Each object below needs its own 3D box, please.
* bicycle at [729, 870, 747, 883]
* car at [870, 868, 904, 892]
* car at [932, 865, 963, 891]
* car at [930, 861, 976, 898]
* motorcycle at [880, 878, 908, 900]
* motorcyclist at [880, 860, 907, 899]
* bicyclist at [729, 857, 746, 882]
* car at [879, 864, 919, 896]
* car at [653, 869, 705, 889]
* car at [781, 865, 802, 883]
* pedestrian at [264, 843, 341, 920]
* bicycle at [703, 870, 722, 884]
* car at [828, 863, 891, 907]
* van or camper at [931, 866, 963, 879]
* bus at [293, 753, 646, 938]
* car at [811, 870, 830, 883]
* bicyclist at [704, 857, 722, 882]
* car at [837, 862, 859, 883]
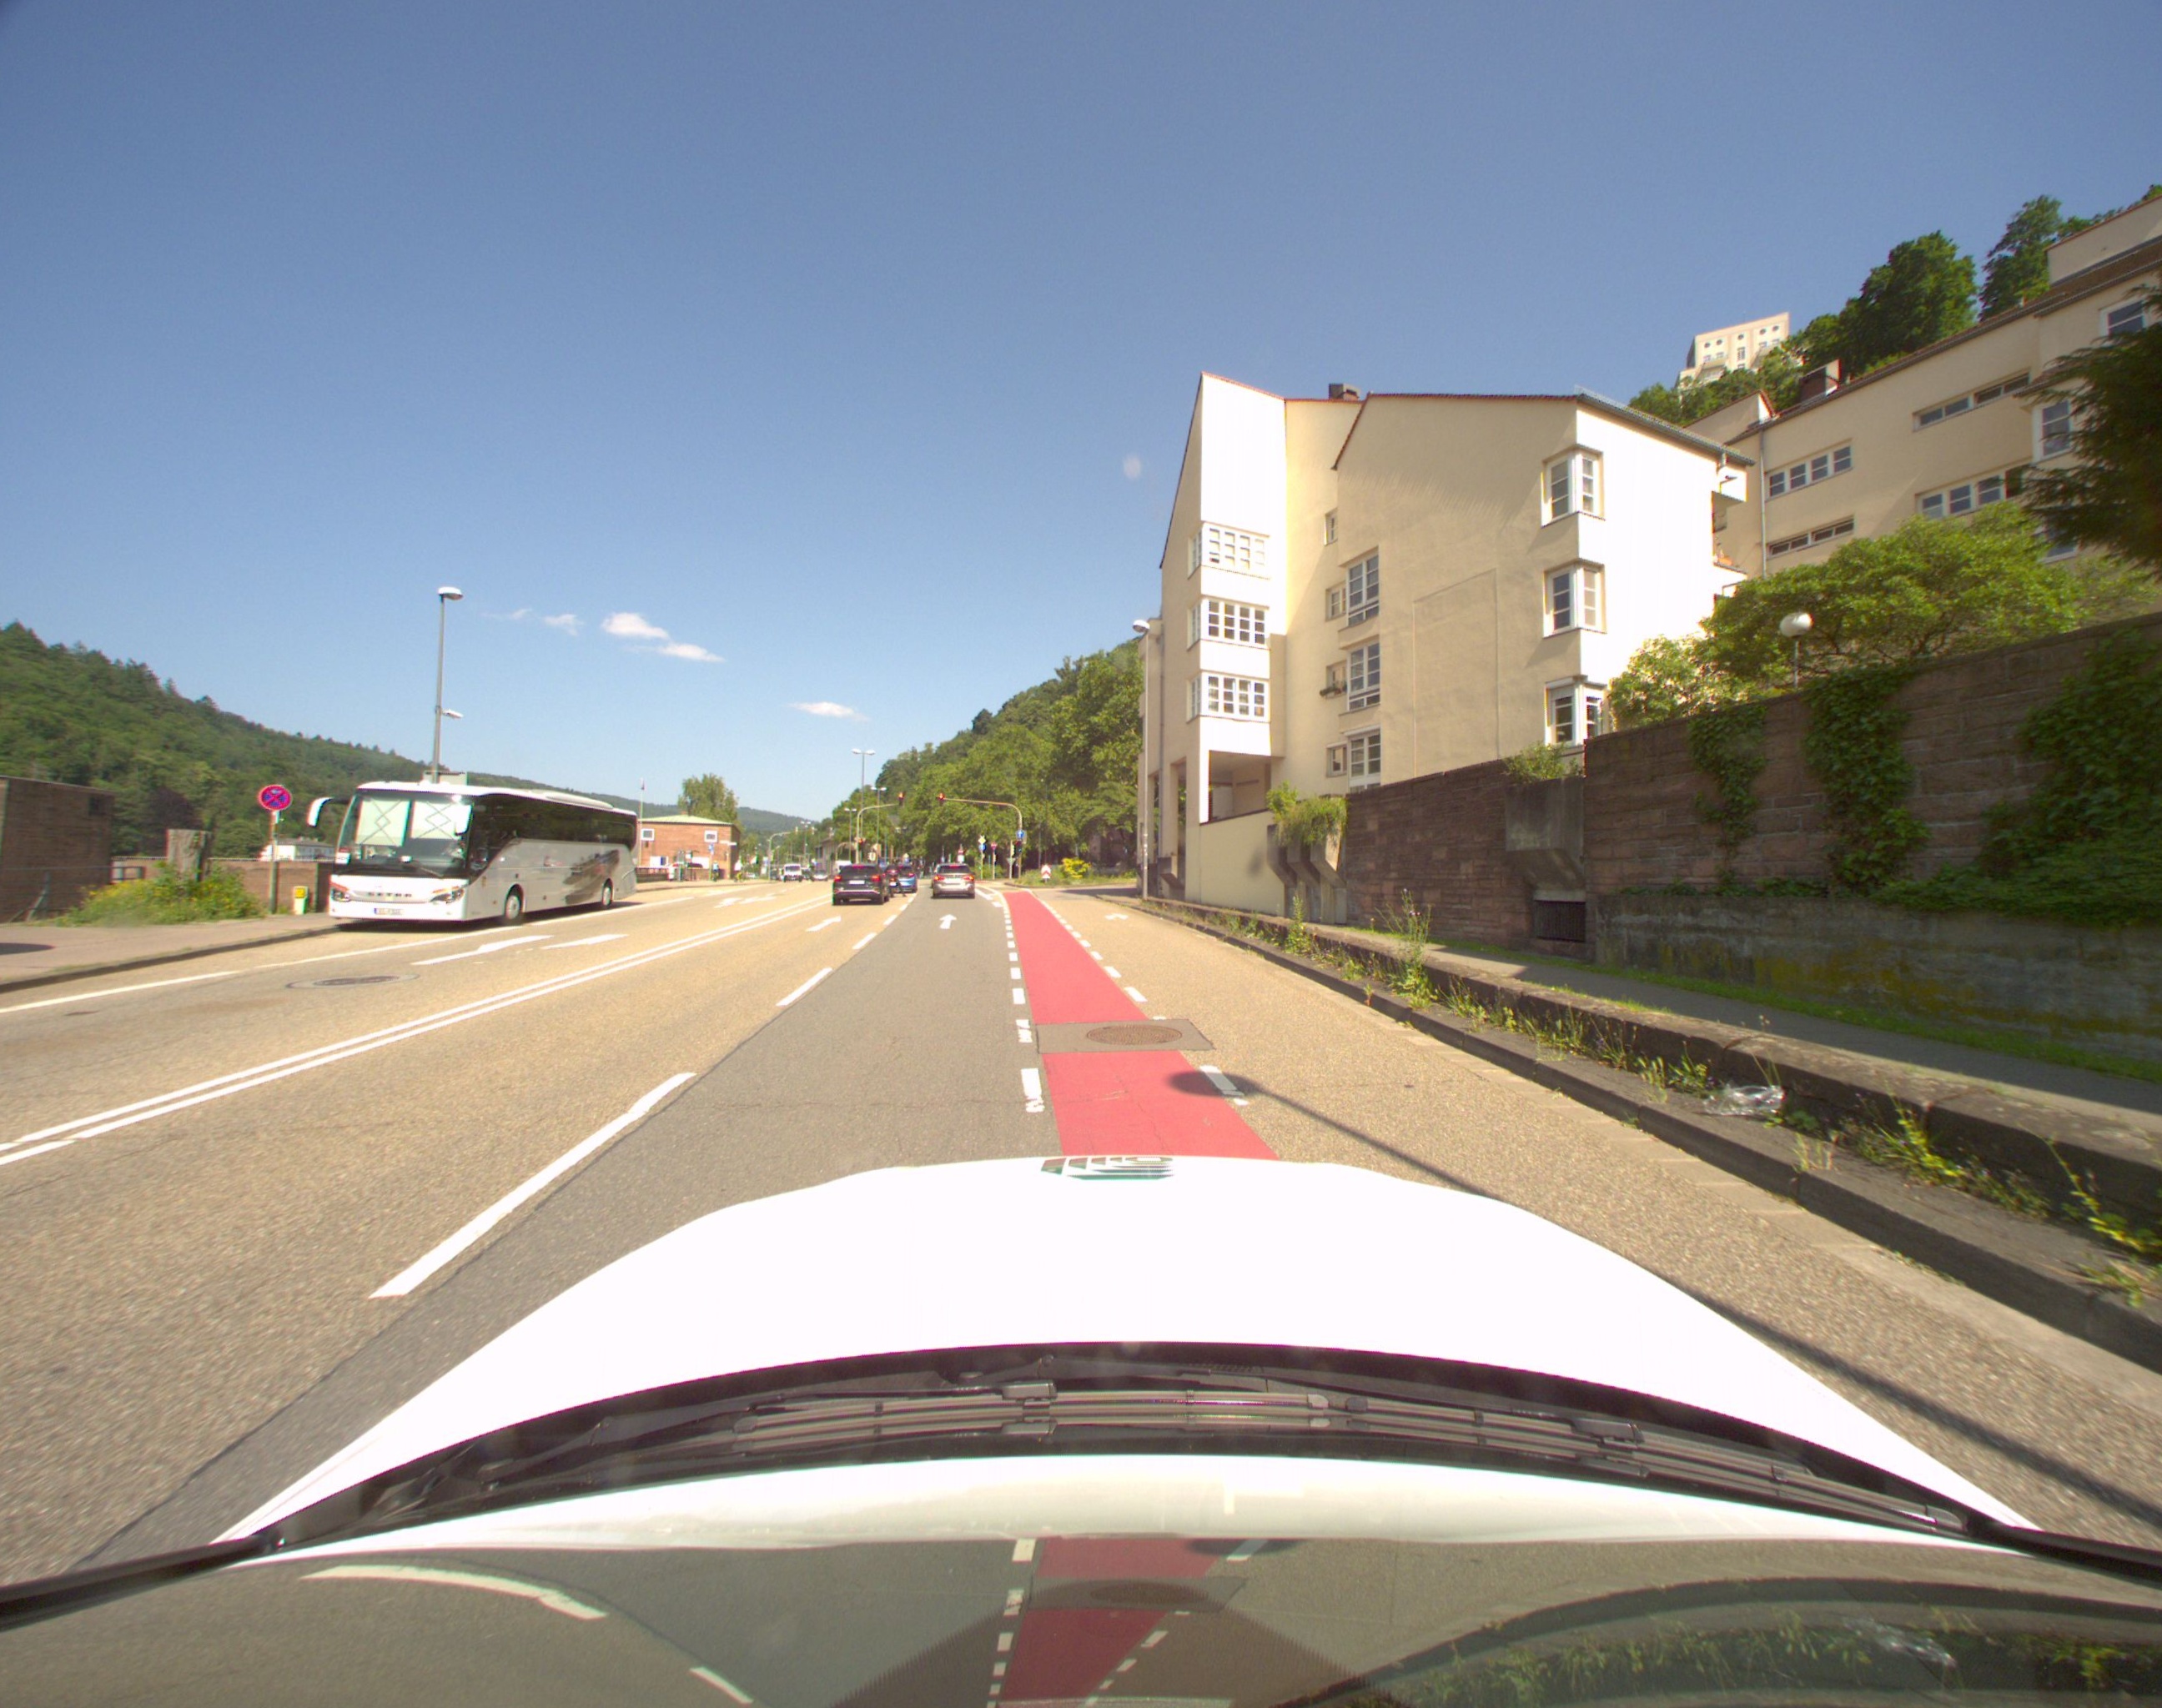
[{"bbox_3d":[-28.705,1.866,68.110,1.216,1.090,2.581,0,-1,-19],"label":"bicycle"},{"bbox_3d":[-11.889,1.544,50.090,1.867,1.359,3.985,0,-1,-10],"label":"car"},{"bbox_3d":[-8.348,1.456,50.966,1.785,1.532,4.721,-1,-1,-9],"label":"car"},{"bbox_3d":[-5.647,1.122,36.218,1.887,1.521,4.293,1,-1,-8],"label":"car"},{"bbox_3d":[-8.340,1.544,36.417,1.037,0.919,2.597,0,-1,-9],"label":"motorcycle"},{"bbox_3d":[-8.319,1.120,36.265,1.075,1.684,1.152,0,-1,-9],"label":"motorcyclist"},{"bbox_3d":[-28.691,1.276,68.109,1.216,2.014,1.111,0,-1,-19],"label":"bicyclist"},{"bbox_3d":[-9.487,1.344,42.744,1.867,1.562,3.985,0,-1,-10],"label":"car"},{"bbox_3d":[-43.459,2.670,88.205,1.974,2.014,4.647,-1,-1,39],"label":"car"},{"bbox_3d":[-35.416,2.425,99.797,2.220,2.078,5.013,0,-1,-17],"label":"car"},{"bbox_3d":[-18.725,0.661,19.626,0.893,1.796,1.035,1,-2,-14],"label":"pedestrian"},{"bbox_3d":[-30.041,1.884,66.448,1.216,1.090,2.581,0,-1,-19],"label":"bicycle"},{"bbox_3d":[-8.256,1.128,30.679,1.869,1.514,4.137,1,-1,-10],"label":"car"},{"bbox_3d":[-20.680,2.892,125.947,4.517,1.902,2.004,-1,-1,7],"label":"van or camper"},{"bbox_3d":[-16.507,-0.096,23.968,2.960,3.801,13.184,4,-1,-13],"label":"bus"},{"bbox_3d":[-32.401,2.796,101.461,1.997,1.432,4.146,0,0,-15],"label":"car"},{"bbox_3d":[-30.147,1.252,66.747,1.216,2.014,1.111,0,-1,-19],"label":"bicyclist"},{"bbox_3d":[-29.991,2.343,104.738,2.391,2.576,6.015,0,-1,-19],"label":"car"}]
